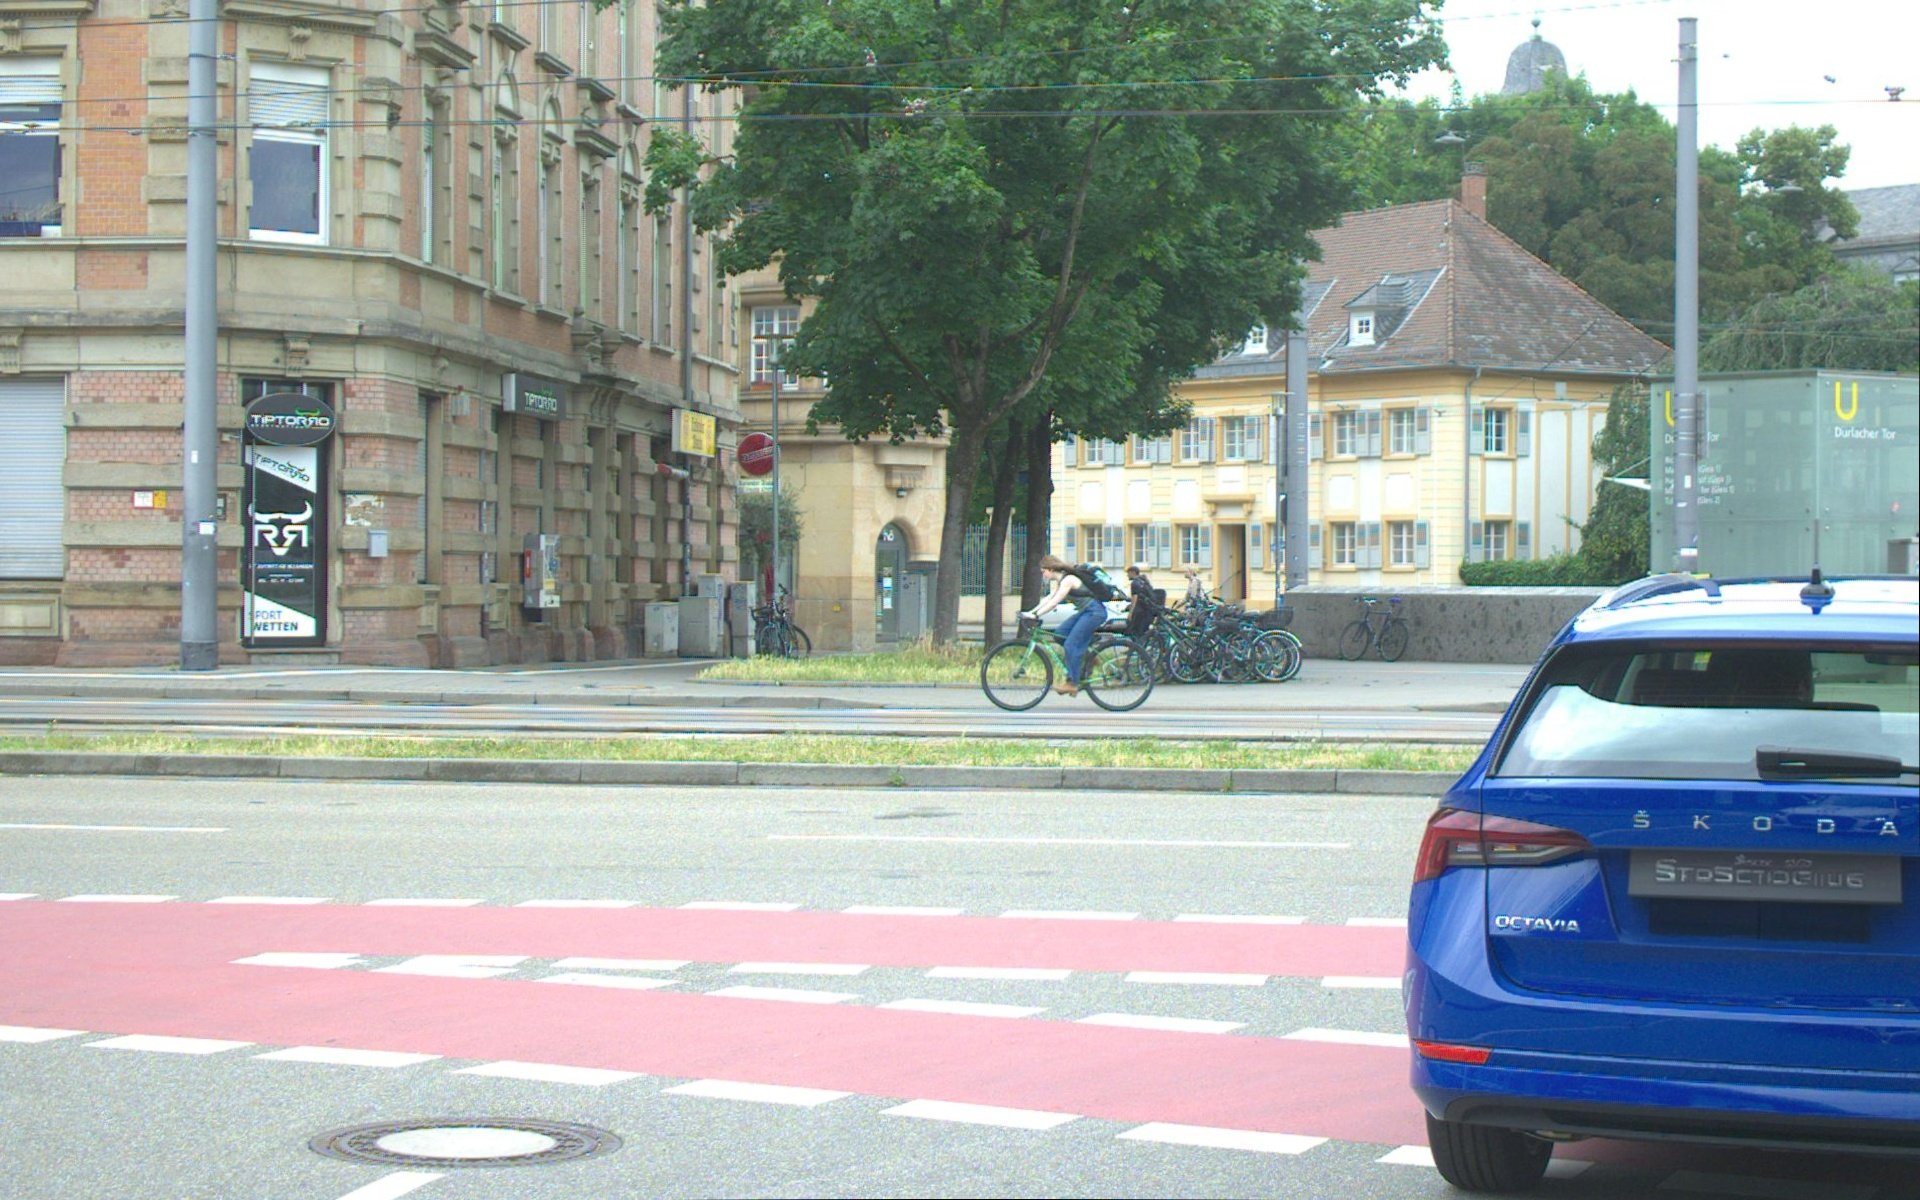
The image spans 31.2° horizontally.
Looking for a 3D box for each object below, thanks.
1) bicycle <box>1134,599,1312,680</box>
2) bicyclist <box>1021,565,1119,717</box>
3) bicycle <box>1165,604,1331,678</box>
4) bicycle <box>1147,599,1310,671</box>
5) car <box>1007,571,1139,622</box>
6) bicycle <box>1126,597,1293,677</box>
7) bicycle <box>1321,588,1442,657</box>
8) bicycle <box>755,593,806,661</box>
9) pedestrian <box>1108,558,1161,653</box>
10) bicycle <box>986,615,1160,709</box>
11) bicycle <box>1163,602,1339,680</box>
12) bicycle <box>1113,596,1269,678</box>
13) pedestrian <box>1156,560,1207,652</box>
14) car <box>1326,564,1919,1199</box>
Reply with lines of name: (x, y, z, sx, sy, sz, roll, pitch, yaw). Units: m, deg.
bicycle: (3.356, 0.496, 43.935, 2.215, 1.002, 0.480, 1, 1, 17)
bicyclist: (1.102, 0.402, 34.234, 0.939, 1.489, 0.663, 0, 1, 4)
bicycle: (3.979, 0.555, 47.539, 2.215, 0.983, 0.585, 1, 1, 17)
bicycle: (3.807, 0.493, 48.761, 2.215, 0.983, 0.585, 1, 1, 17)
car: (3.317, -0.110, 101.845, 1.692, 1.444, 4.187, 0, 1, -36)
bicycle: (3.152, 0.461, 43.407, 2.033, 0.983, 0.521, 1, 1, 17)
bicycle: (7.099, 0.368, 57.985, 0.738, 1.111, 2.363, 0, 1, -30)
bicycle: (-2.522, 0.365, 48.427, 0.660, 0.911, 1.990, 0, 1, -2)
pedestrian: (3.187, 0.097, 62.839, 0.845, 1.716, 0.952, 0, 1, 11)
bicycle: (1.134, 0.612, 34.235, 1.714, 0.912, 0.607, 0, 1, 3)
bicycle: (3.780, 0.524, 44.618, 2.215, 0.983, 0.499, 1, 1, 17)
bicycle: (2.865, 0.453, 42.702, 1.864, 0.983, 0.499, 0, 0, 16)
pedestrian: (4.217, 0.106, 65.332, 0.845, 1.716, 0.952, 0, 1, 11)
car: (2.411, 0.677, 8.845, 1.781, 1.483, 4.460, 1, 0, 22)
